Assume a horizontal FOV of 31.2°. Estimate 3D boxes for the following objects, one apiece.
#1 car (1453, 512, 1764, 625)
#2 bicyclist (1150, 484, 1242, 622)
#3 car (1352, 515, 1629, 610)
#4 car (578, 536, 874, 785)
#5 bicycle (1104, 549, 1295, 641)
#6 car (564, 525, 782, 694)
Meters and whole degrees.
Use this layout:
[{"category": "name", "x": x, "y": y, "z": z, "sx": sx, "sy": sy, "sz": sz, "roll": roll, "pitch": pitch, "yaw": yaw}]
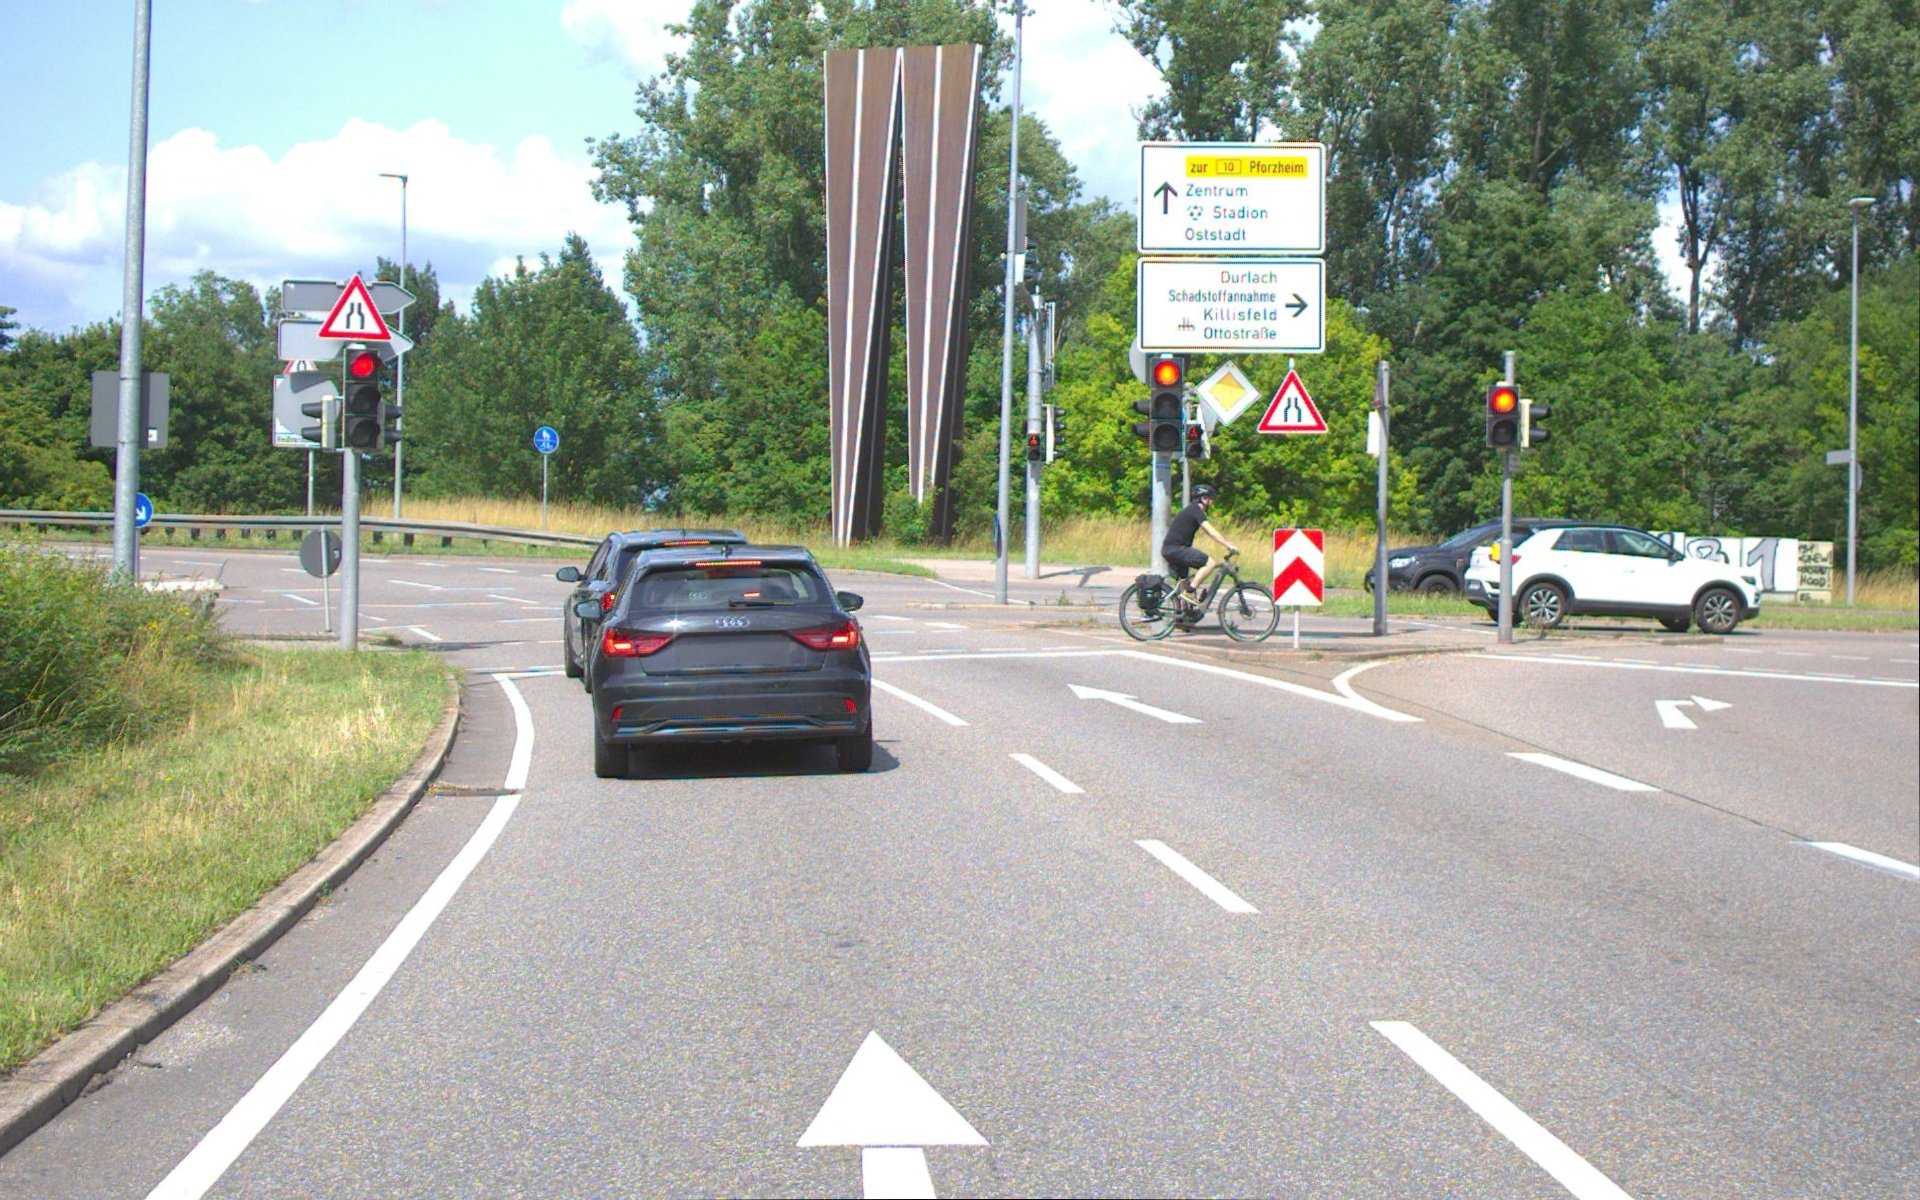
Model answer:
[{"category": "car", "x": 9.330, "y": -0.464, "z": 49.621, "sx": 4.032, "sy": 1.471, "sz": 1.737, "roll": 2, "pitch": 1, "yaw": -7}, {"category": "bicyclist", "x": 2.688, "y": -0.535, "z": 39.196, "sx": 0.834, "sy": 1.555, "sz": 0.672, "roll": 1, "pitch": 1, "yaw": -16}, {"category": "car", "x": 8.858, "y": -0.636, "z": 57.548, "sx": 4.267, "sy": 1.539, "sz": 1.737, "roll": 1, "pitch": 1, "yaw": -5}, {"category": "car", "x": -1.554, "y": 0.321, "z": 22.419, "sx": 1.726, "sy": 1.399, "sz": 4.001, "roll": -1, "pitch": 2, "yaw": -5}, {"category": "bicycle", "x": 2.726, "y": -0.057, "z": 39.218, "sx": 2.052, "sy": 1.020, "sz": 0.672, "roll": 1, "pitch": 1, "yaw": -16}, {"category": "car", "x": -2.734, "y": 0.037, "z": 32.099, "sx": 1.726, "sy": 1.418, "sz": 3.846, "roll": -1, "pitch": 2, "yaw": -9}]
